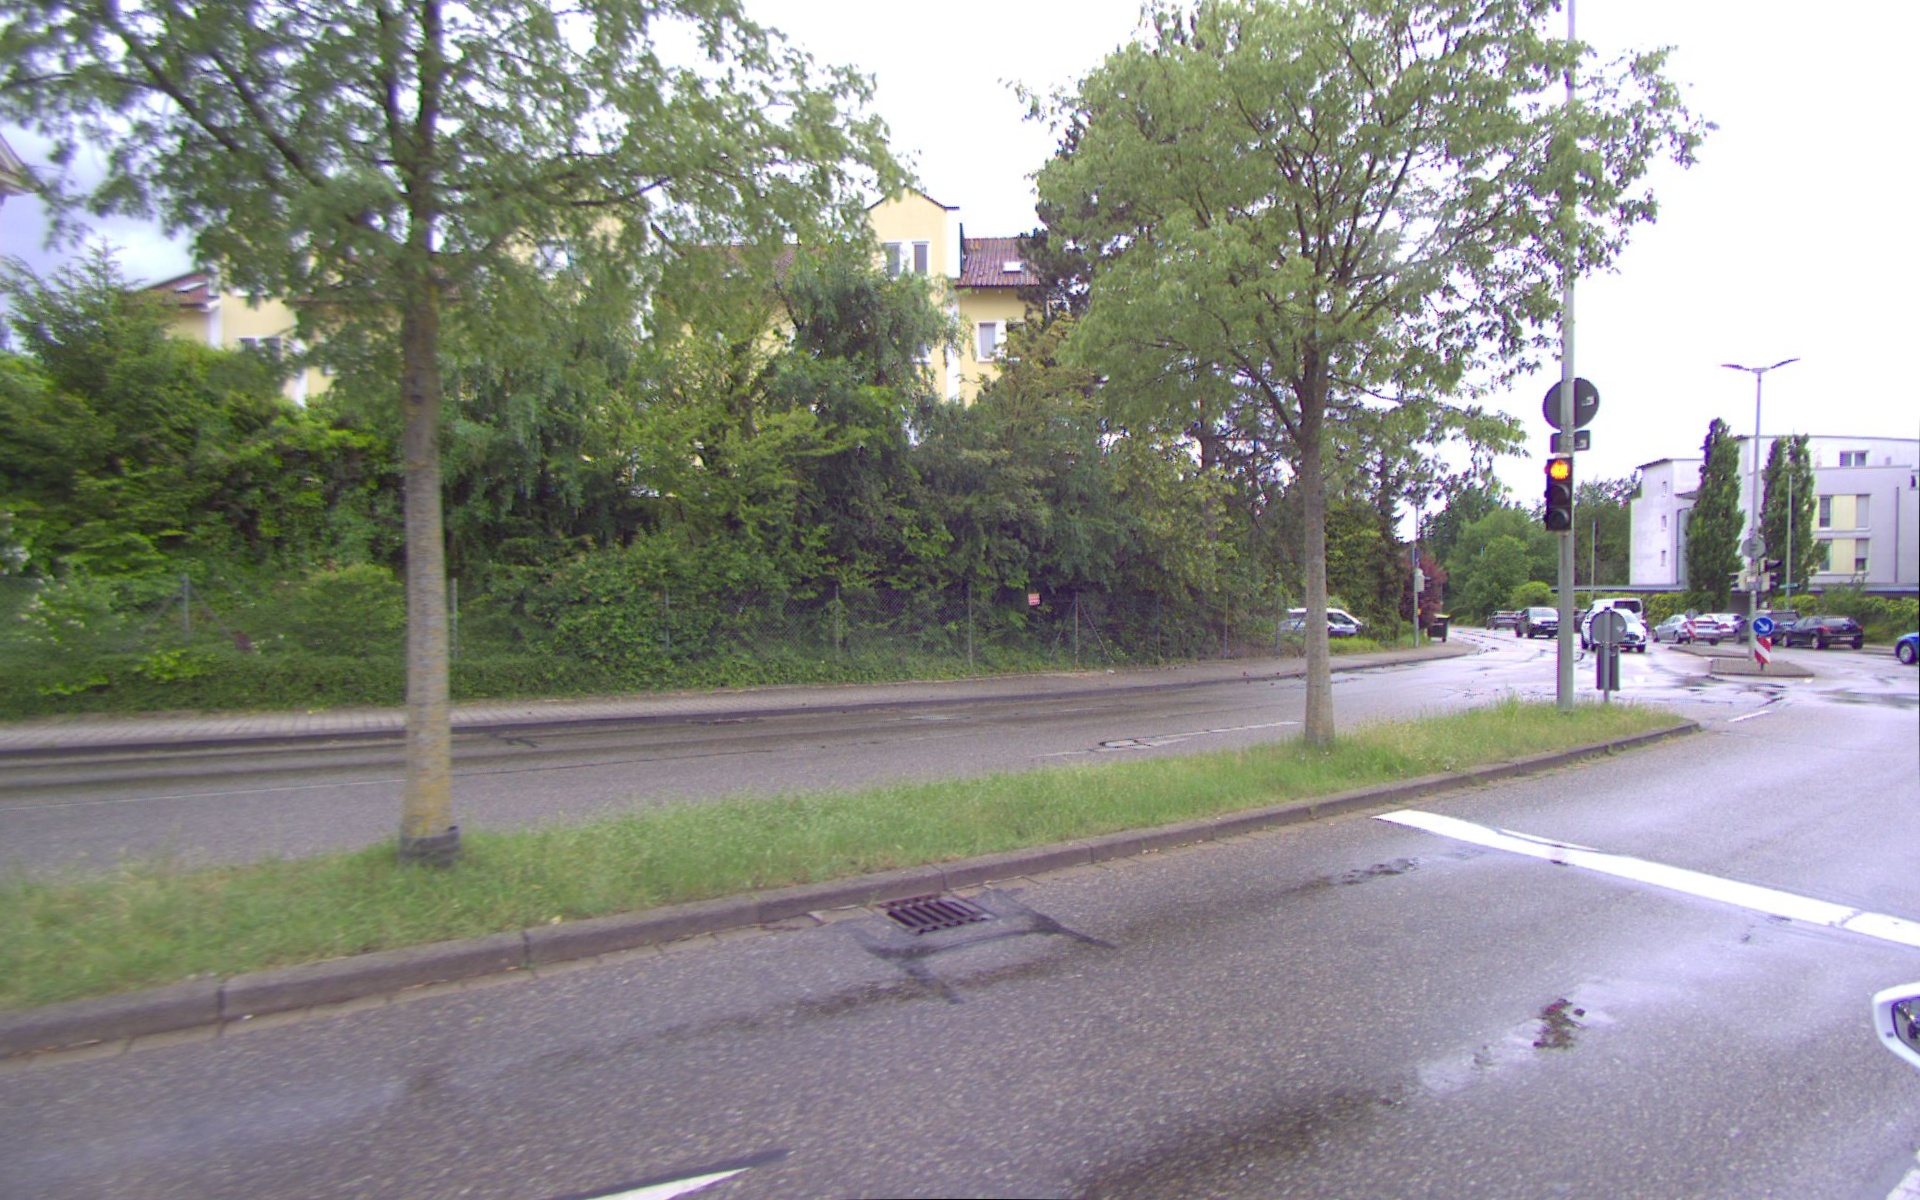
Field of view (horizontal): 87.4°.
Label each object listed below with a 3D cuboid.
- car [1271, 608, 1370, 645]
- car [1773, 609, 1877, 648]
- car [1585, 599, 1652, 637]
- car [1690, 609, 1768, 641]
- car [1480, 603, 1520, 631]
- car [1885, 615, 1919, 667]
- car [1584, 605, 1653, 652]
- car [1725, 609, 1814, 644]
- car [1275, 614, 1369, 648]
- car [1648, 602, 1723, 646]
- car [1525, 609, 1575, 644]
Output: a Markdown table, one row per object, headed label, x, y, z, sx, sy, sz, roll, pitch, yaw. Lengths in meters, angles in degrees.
| label | x | y | z | sx | sy | sz | roll | pitch | yaw |
| --- | --- | --- | --- | --- | --- | --- | --- | --- | --- |
| car | 16.142 | 1.146 | 44.945 | 3.926 | 1.484 | 1.997 | 1 | 1 | 28 |
| car | 38.070 | 1.231 | 44.334 | 1.960 | 1.576 | 4.001 | -1 | 0 | 16 |
| car | 44.610 | 1.291 | 68.207 | 2.549 | 2.445 | 5.258 | 0 | -2 | 19 |
| car | 40.637 | 1.277 | 53.214 | 1.960 | 1.576 | 4.001 | -1 | 0 | 16 |
| car | 45.281 | 1.372 | 84.316 | 1.941 | 2.041 | 4.001 | 0 | 3 | 14 |
| car | 30.558 | 1.282 | 30.312 | 1.959 | 1.576 | 4.002 | -1 | 0 | 8 |
| car | 26.086 | 1.086 | 39.932 | 1.964 | 1.662 | 3.993 | 1 | 1 | 29 |
| car | 39.179 | 1.235 | 48.758 | 1.960 | 1.576 | 4.001 | -1 | 0 | 16 |
| car | 15.191 | 1.266 | 42.188 | 3.521 | 1.258 | 1.650 | 1 | 1 | 28 |
| car | 35.351 | 1.121 | 49.048 | 1.961 | 1.782 | 3.998 | 0 | 3 | 21 |
| car | 33.682 | 1.493 | 57.428 | 1.962 | 1.840 | 3.997 | 0 | 1 | 23 |
